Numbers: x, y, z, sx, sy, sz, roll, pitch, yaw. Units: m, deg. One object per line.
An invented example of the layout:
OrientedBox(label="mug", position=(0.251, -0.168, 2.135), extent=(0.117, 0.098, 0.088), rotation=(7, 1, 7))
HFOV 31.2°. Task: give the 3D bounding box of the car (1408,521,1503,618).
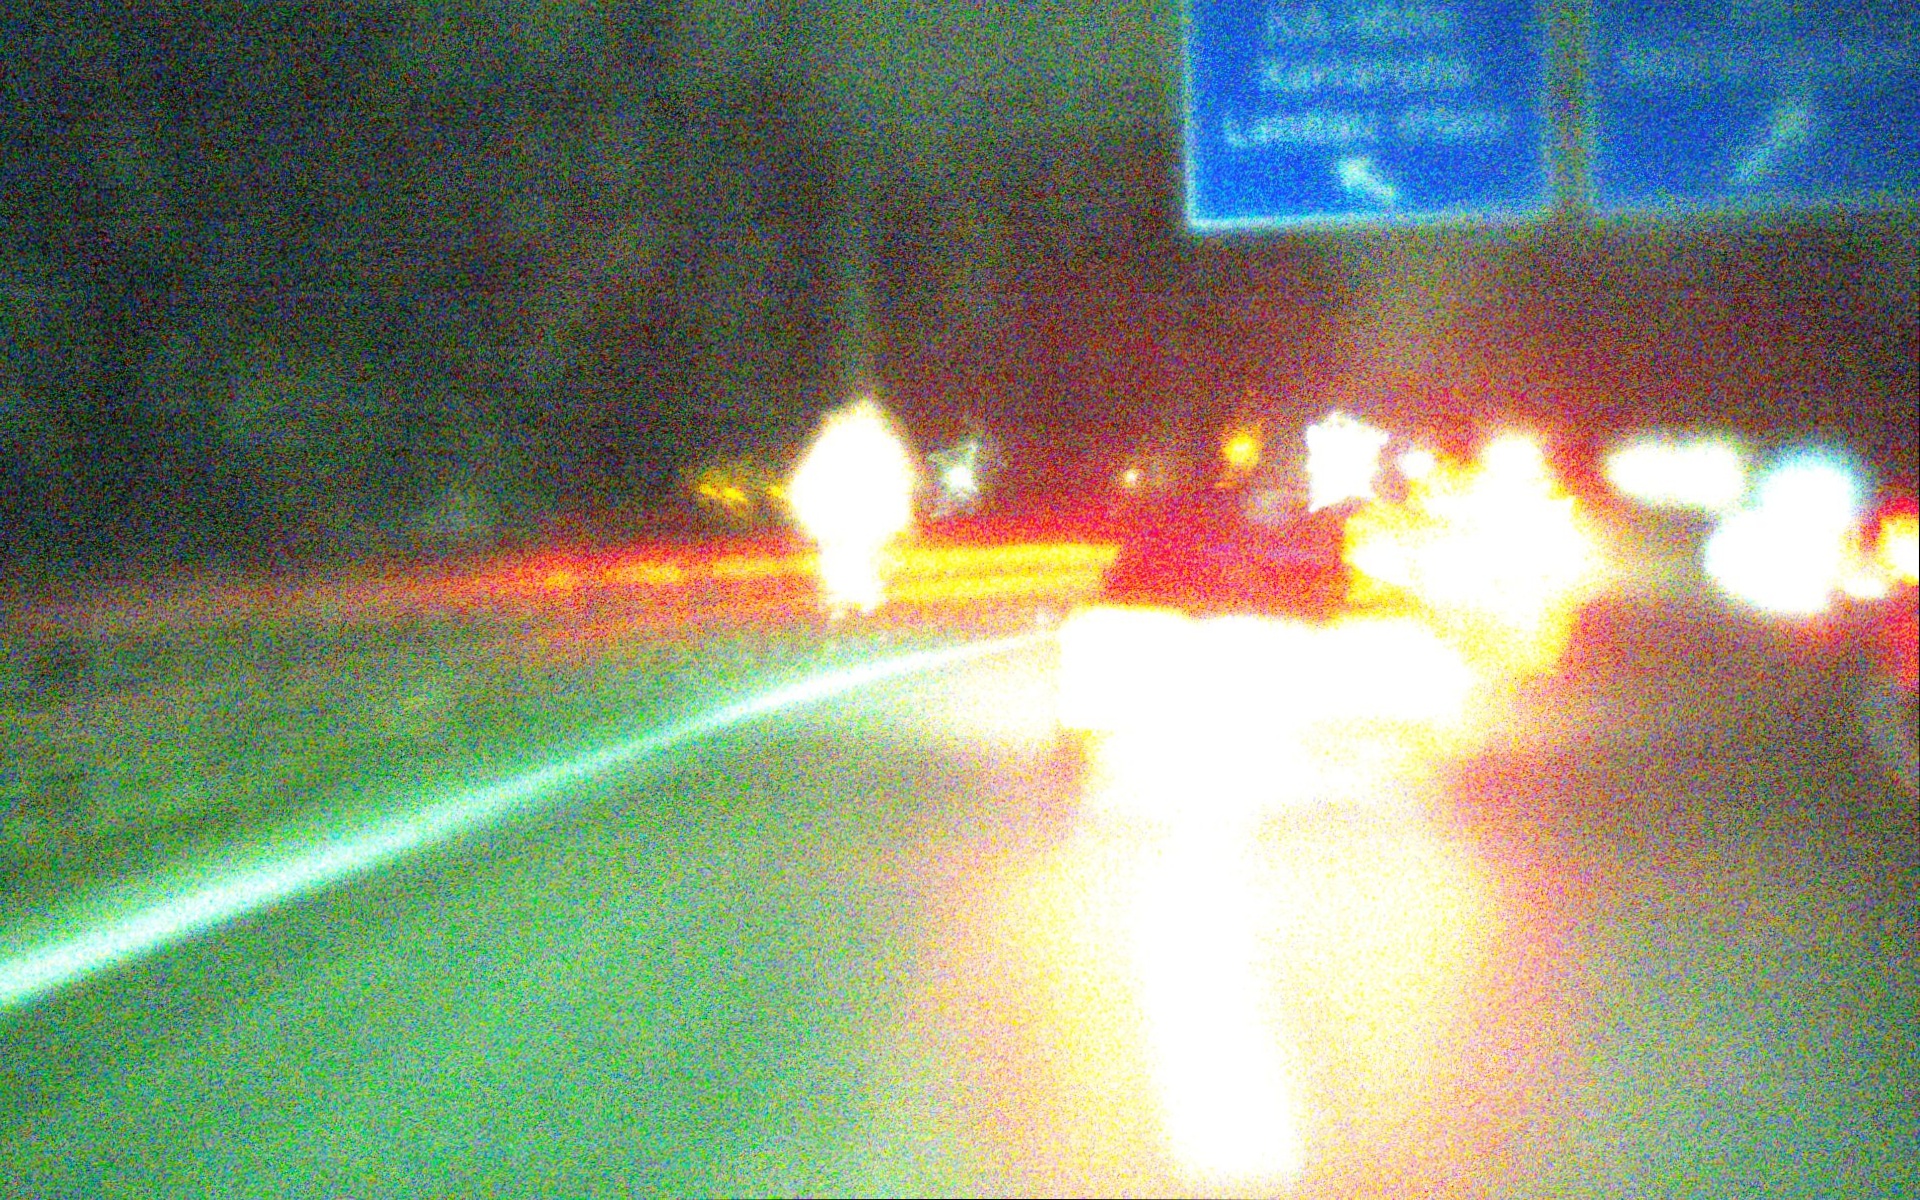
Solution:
OrientedBox(label="car", position=(10.736, -0.642, 74.306), extent=(1.896, 2.033, 4.044), rotation=(0, 0, 10))

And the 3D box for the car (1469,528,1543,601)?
OrientedBox(label="car", position=(15.255, -0.990, 96.188), extent=(1.896, 1.991, 4.044), rotation=(0, 0, 7))

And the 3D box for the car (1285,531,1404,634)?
OrientedBox(label="car", position=(6.630, -0.300, 59.008), extent=(1.896, 1.715, 4.044), rotation=(0, 0, 8))

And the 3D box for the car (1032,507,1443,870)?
OrientedBox(label="car", position=(1.336, 0.374, 17.756), extent=(1.860, 1.641, 4.069), rotation=(1, 1, 2))
